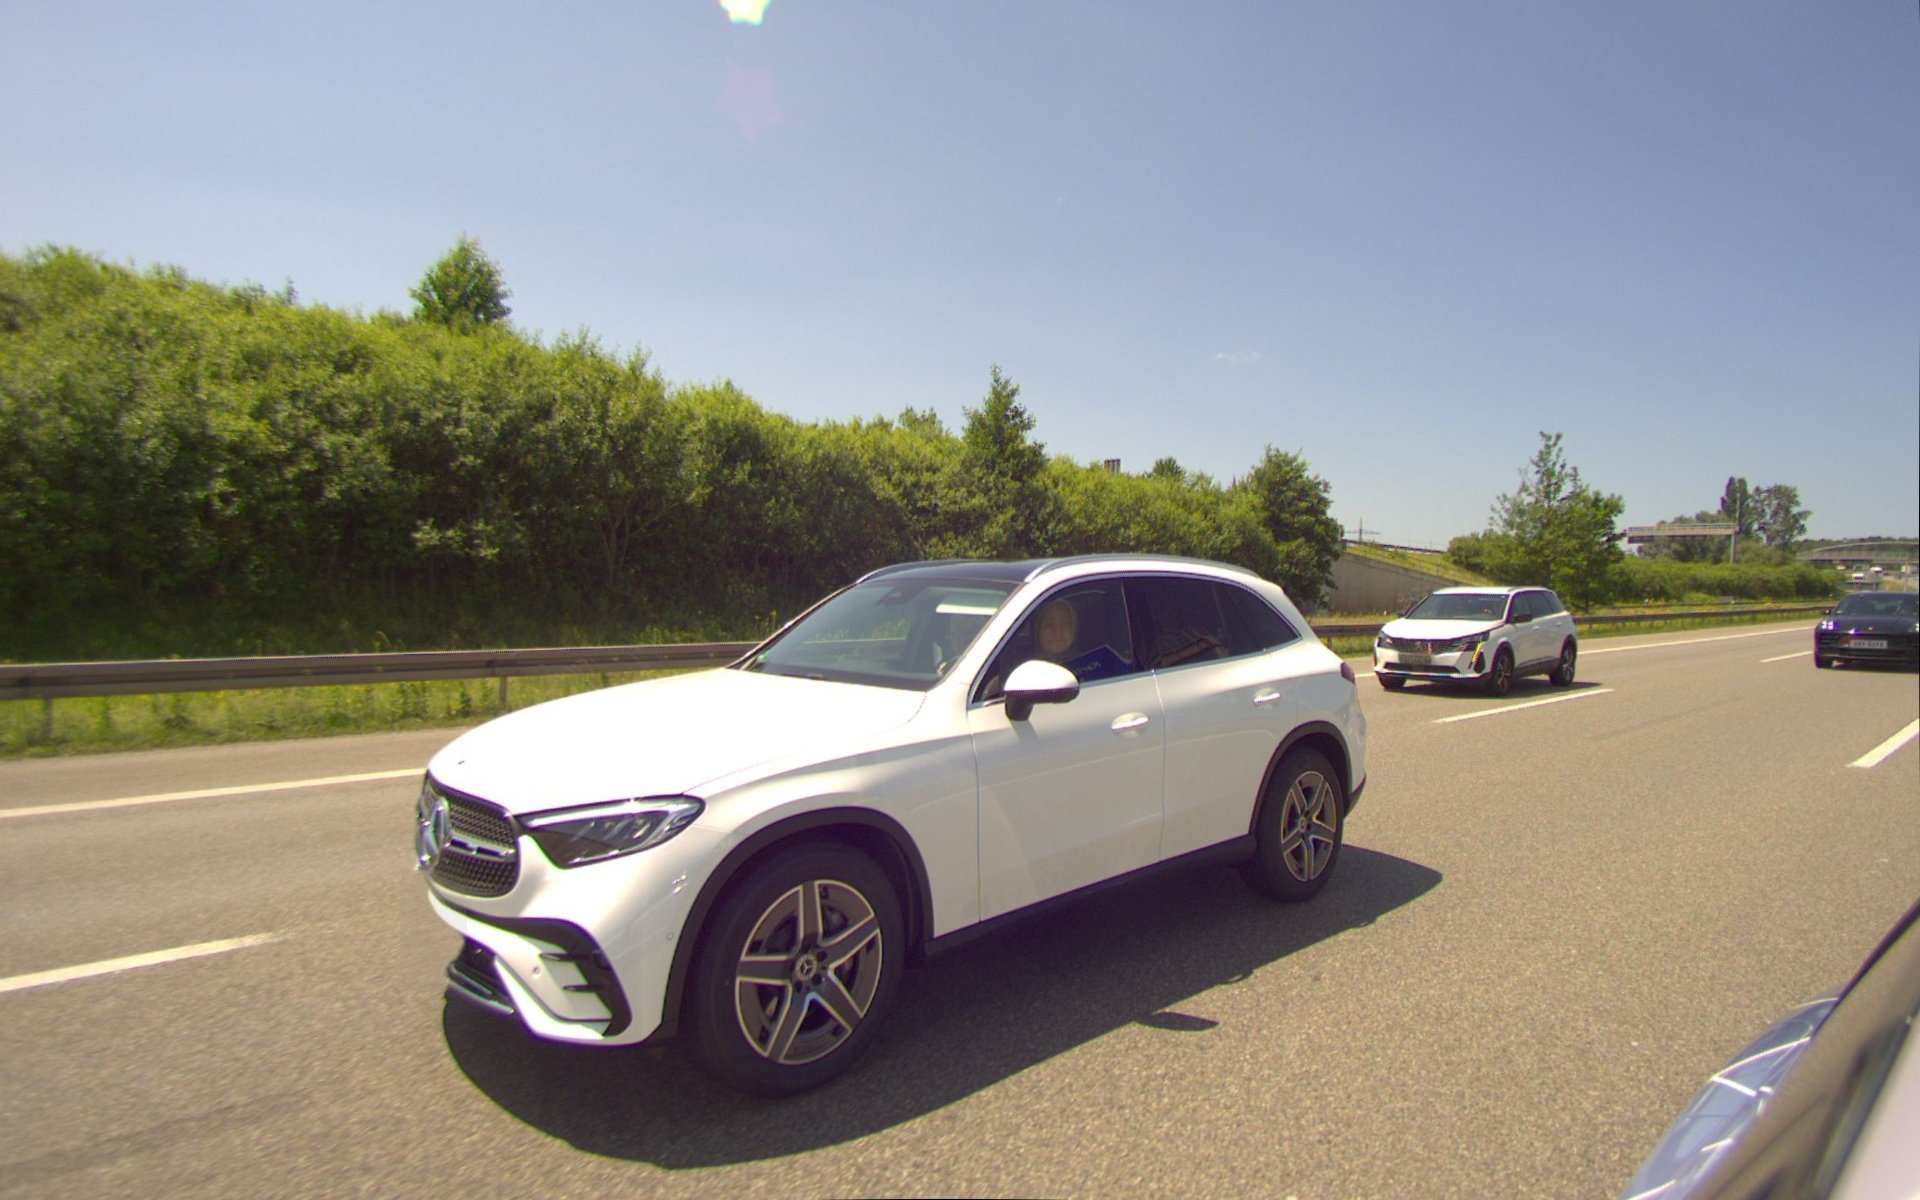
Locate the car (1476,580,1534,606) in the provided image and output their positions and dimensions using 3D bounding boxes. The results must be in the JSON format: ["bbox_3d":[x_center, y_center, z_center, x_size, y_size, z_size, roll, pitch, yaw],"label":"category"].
[{"bbox_3d":[45.713,-0.589,84.866,4.666,2.039,2.003,0,1,-27],"label":"car"}]

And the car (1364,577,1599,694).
[{"bbox_3d":[8.543,0.469,16.391,4.537,1.650,1.896,-1,1,-42],"label":"car"}]

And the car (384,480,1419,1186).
[{"bbox_3d":[0.136,0.547,4.642,4.556,1.677,1.908,0,0,-41],"label":"car"}]

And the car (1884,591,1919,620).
[{"bbox_3d":[50.850,0.269,54.373,1.747,1.489,3.937,0,1,44],"label":"car"}]

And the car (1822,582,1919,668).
[{"bbox_3d":[19.928,0.459,21.497,4.540,1.650,1.979,-1,1,-43],"label":"car"}]
